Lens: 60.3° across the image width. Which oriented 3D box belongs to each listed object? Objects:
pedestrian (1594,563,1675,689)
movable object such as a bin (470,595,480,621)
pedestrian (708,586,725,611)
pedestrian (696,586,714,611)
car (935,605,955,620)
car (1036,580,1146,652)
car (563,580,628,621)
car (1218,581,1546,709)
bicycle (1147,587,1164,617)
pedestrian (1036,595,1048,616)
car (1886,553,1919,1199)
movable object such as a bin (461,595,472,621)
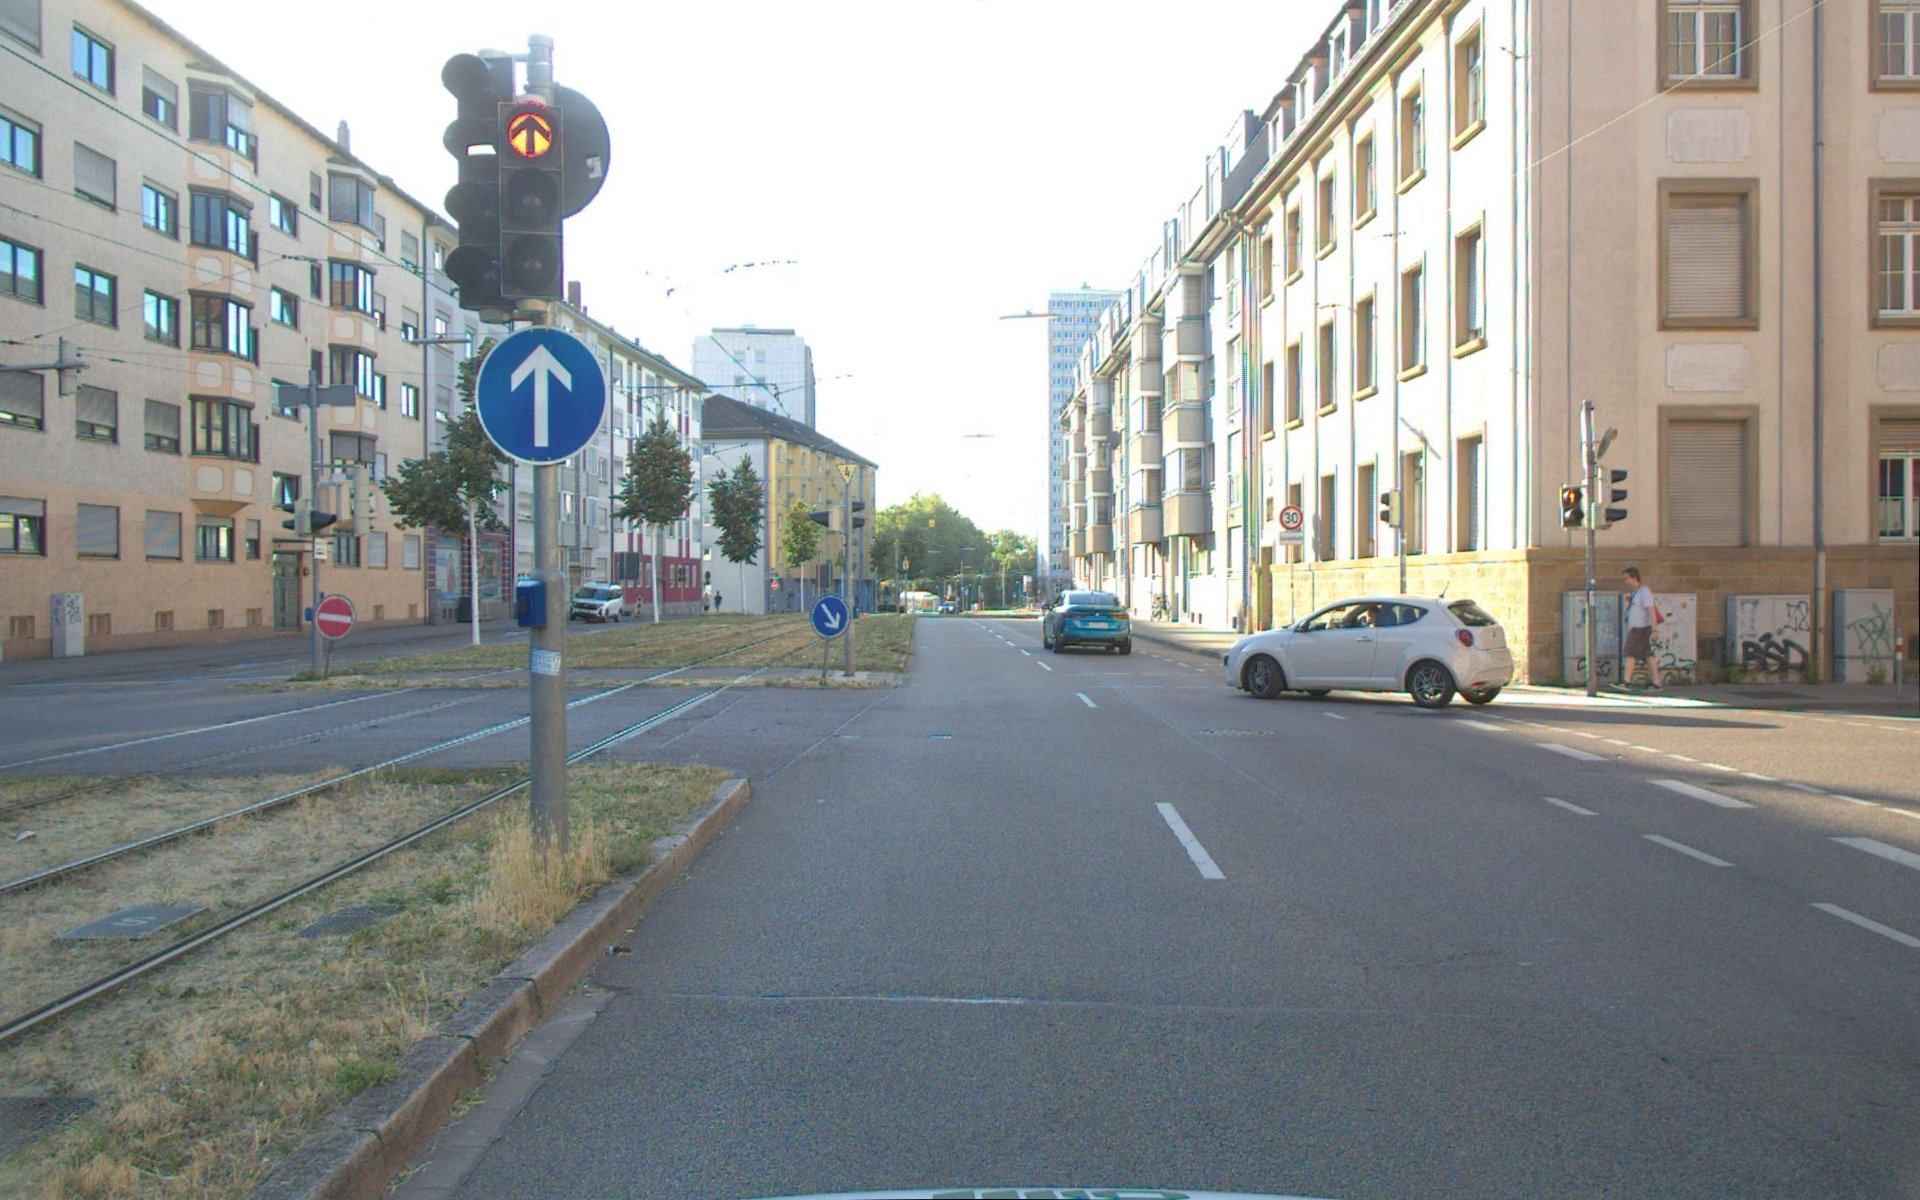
[{"bbox_3d":[9.834,0.370,24.149,0.818,1.793,0.824,1,-1,-1],"label":"pedestrian"},{"bbox_3d":[-20.121,0.332,68.618,0.292,1.054,0.441,1,-1,-2],"label":"movable object such as a bin"},{"bbox_3d":[-16.964,-0.106,115.315,0.942,1.699,1.011,1,0,4],"label":"pedestrian"},{"bbox_3d":[-17.724,-0.121,114.977,0.942,1.723,1.011,1,0,4],"label":"pedestrian"},{"bbox_3d":[-1.794,1.485,200.692,1.857,1.662,4.751,-1,0,7],"label":"car"},{"bbox_3d":[3.021,0.366,39.032,1.954,1.581,4.390,1,0,-4],"label":"car"},{"bbox_3d":[-17.898,0.038,81.387,1.952,1.958,4.543,1,0,3],"label":"car"},{"bbox_3d":[5.781,0.568,22.828,3.925,1.591,1.990,1,0,39],"label":"car"},{"bbox_3d":[7.321,0.086,61.948,0.376,1.115,1.503,-1,0,-3],"label":"bicycle"},{"bbox_3d":[5.175,0.348,104.474,0.677,1.256,0.736,1,0,0],"label":"pedestrian"},{"bbox_3d":[2.845,0.719,1.434,1.663,1.580,4.225,1,0,-1],"label":"car"},{"bbox_3d":[-20.270,0.339,67.998,0.292,1.054,0.441,1,-1,1],"label":"movable object such as a bin"}]
